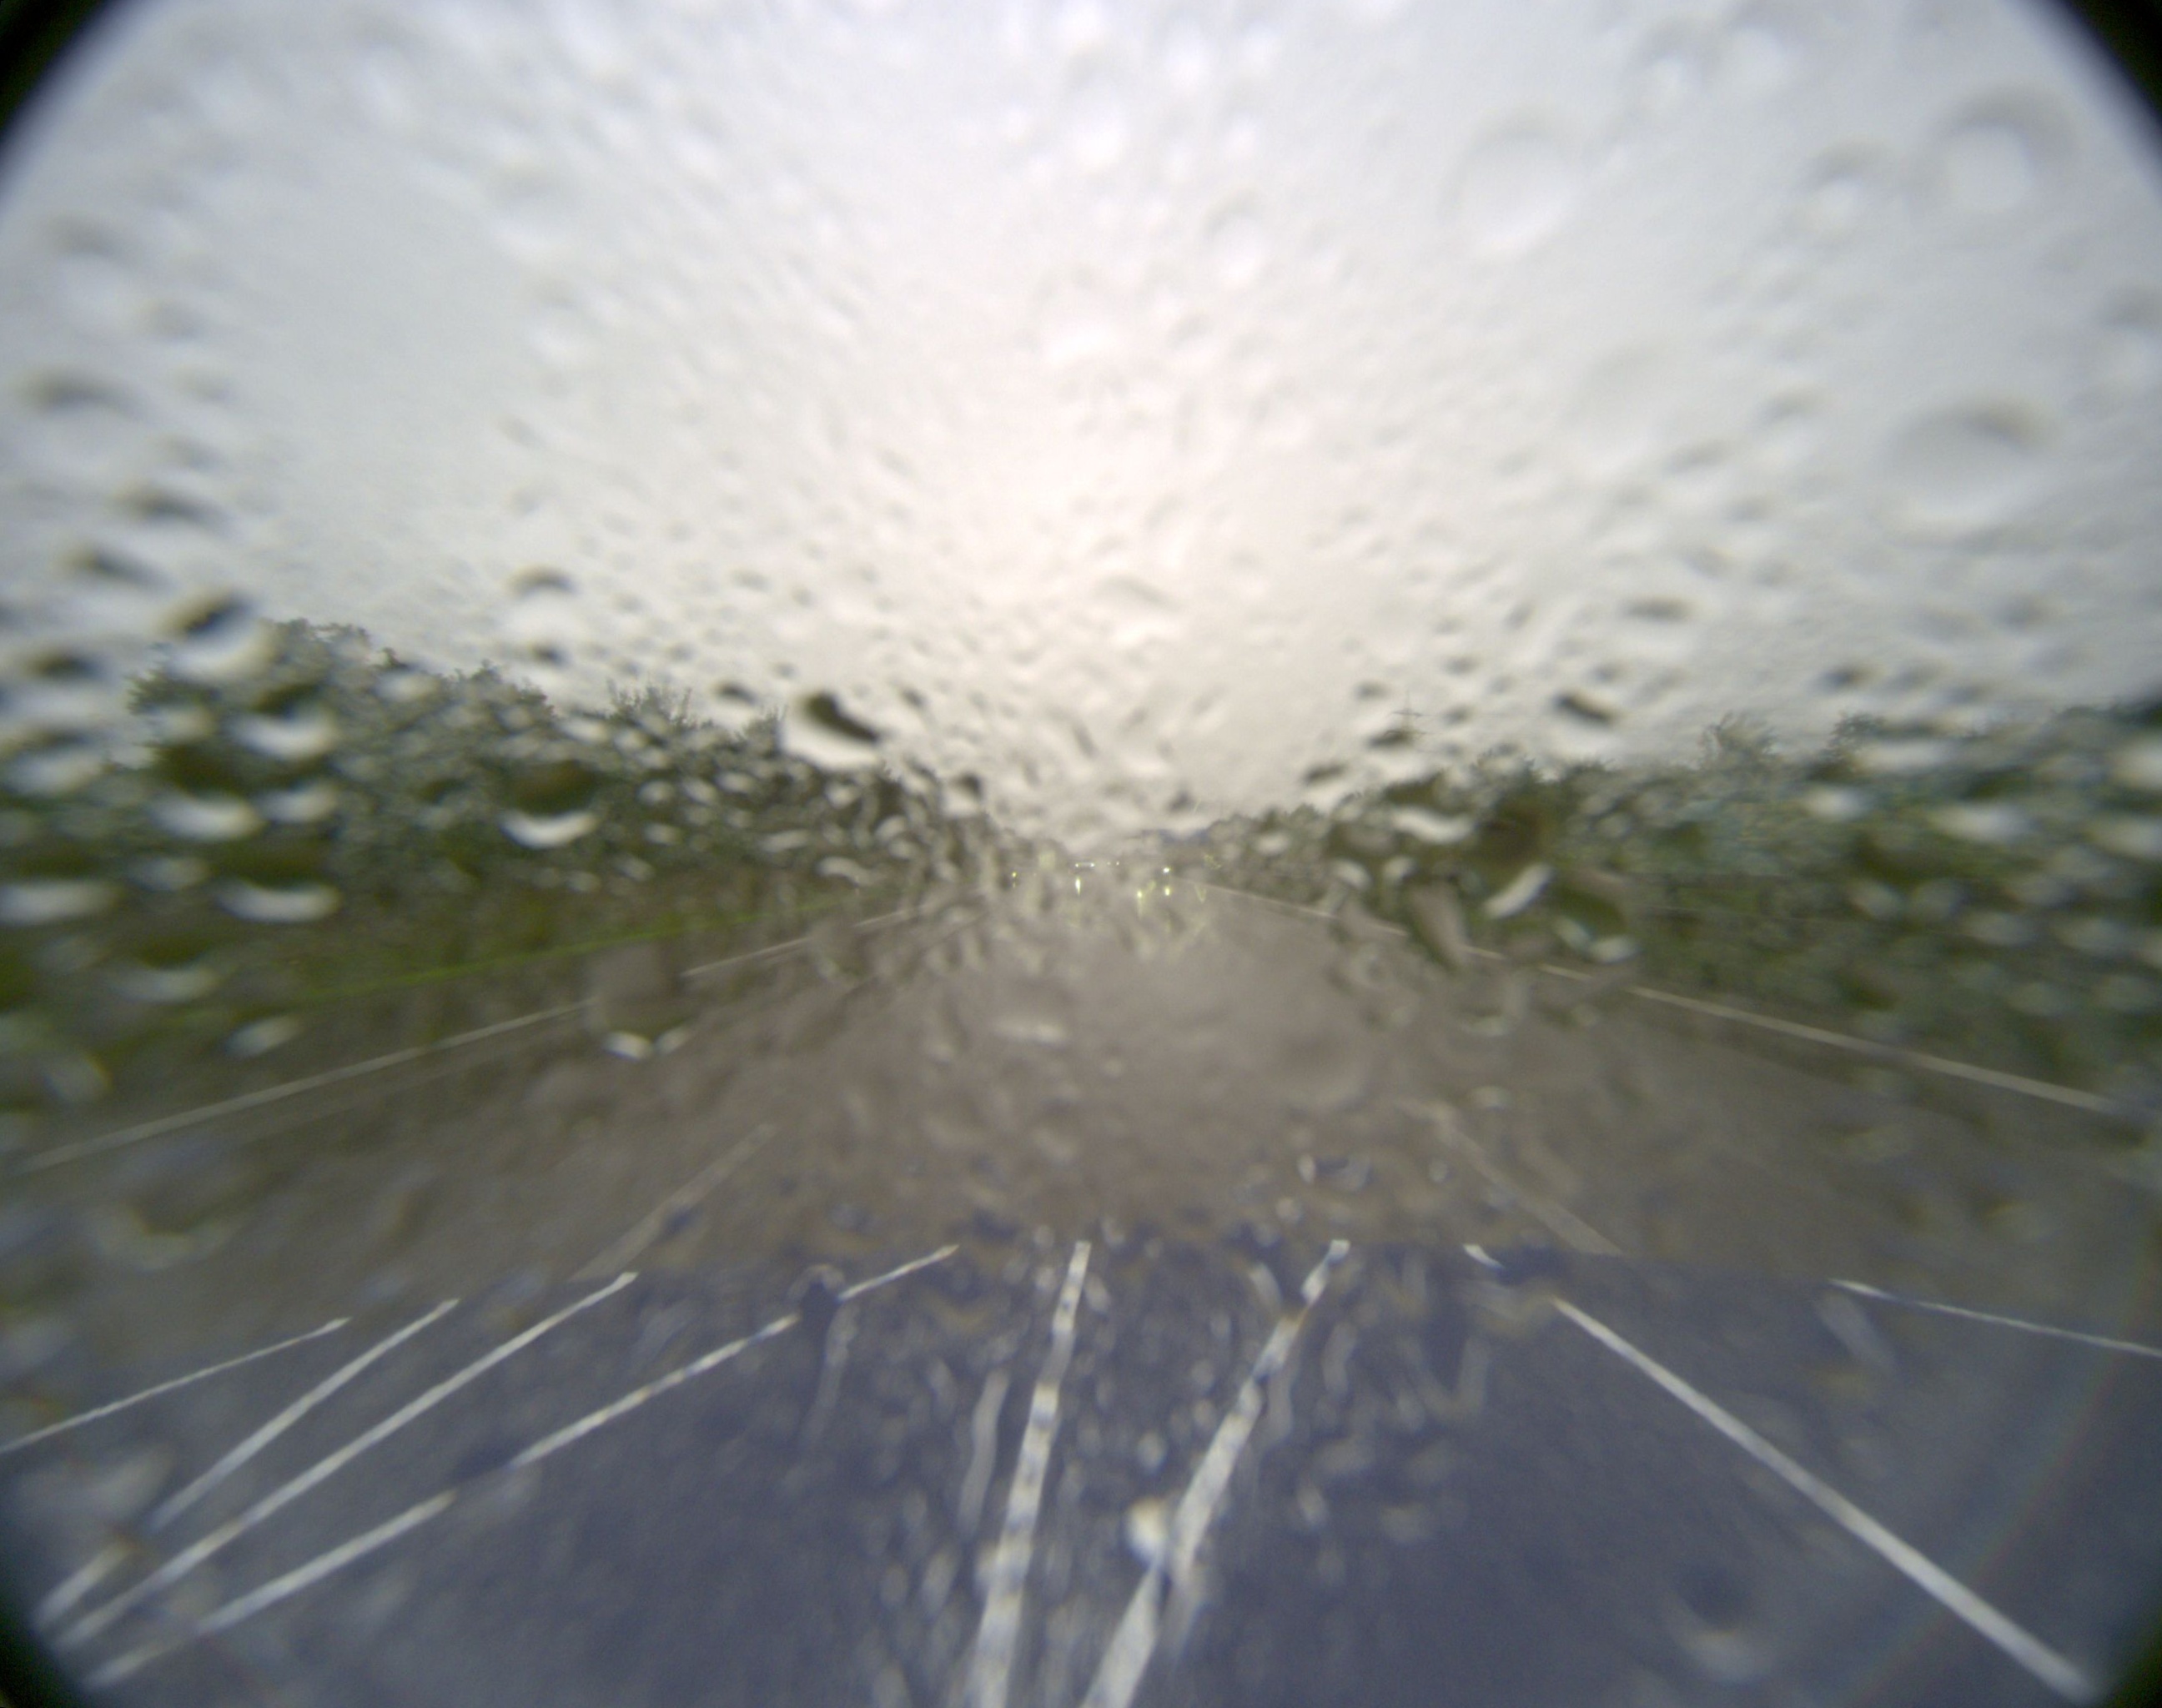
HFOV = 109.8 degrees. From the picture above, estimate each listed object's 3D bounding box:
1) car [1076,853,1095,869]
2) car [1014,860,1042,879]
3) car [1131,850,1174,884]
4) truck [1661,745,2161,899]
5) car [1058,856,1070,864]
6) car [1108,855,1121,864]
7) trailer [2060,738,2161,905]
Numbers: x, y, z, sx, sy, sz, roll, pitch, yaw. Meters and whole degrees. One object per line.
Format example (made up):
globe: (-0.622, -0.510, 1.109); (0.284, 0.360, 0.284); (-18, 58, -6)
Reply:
car: (0.453, 0.677, 75.491); (1.753, 1.406, 4.000); (-2, 1, 1)
car: (-3.898, 1.151, 56.606); (1.753, 1.205, 4.000); (-2, 1, 1)
car: (3.974, 0.683, 42.805); (2.047, 1.763, 4.500); (-1, 1, 1)
truck: (20.913, -0.698, 20.681); (2.245, 3.019, 10.615); (-2, 1, 1)
car: (-2.666, 0.928, 118.222); (1.753, 1.205, 4.000); (-2, 1, 1)
car: (5.170, 0.838, 117.609); (1.753, 1.369, 4.000); (-2, 0, 1)
trailer: (20.747, -0.607, 11.133); (2.252, 3.047, 8.264); (-2, 1, 1)
